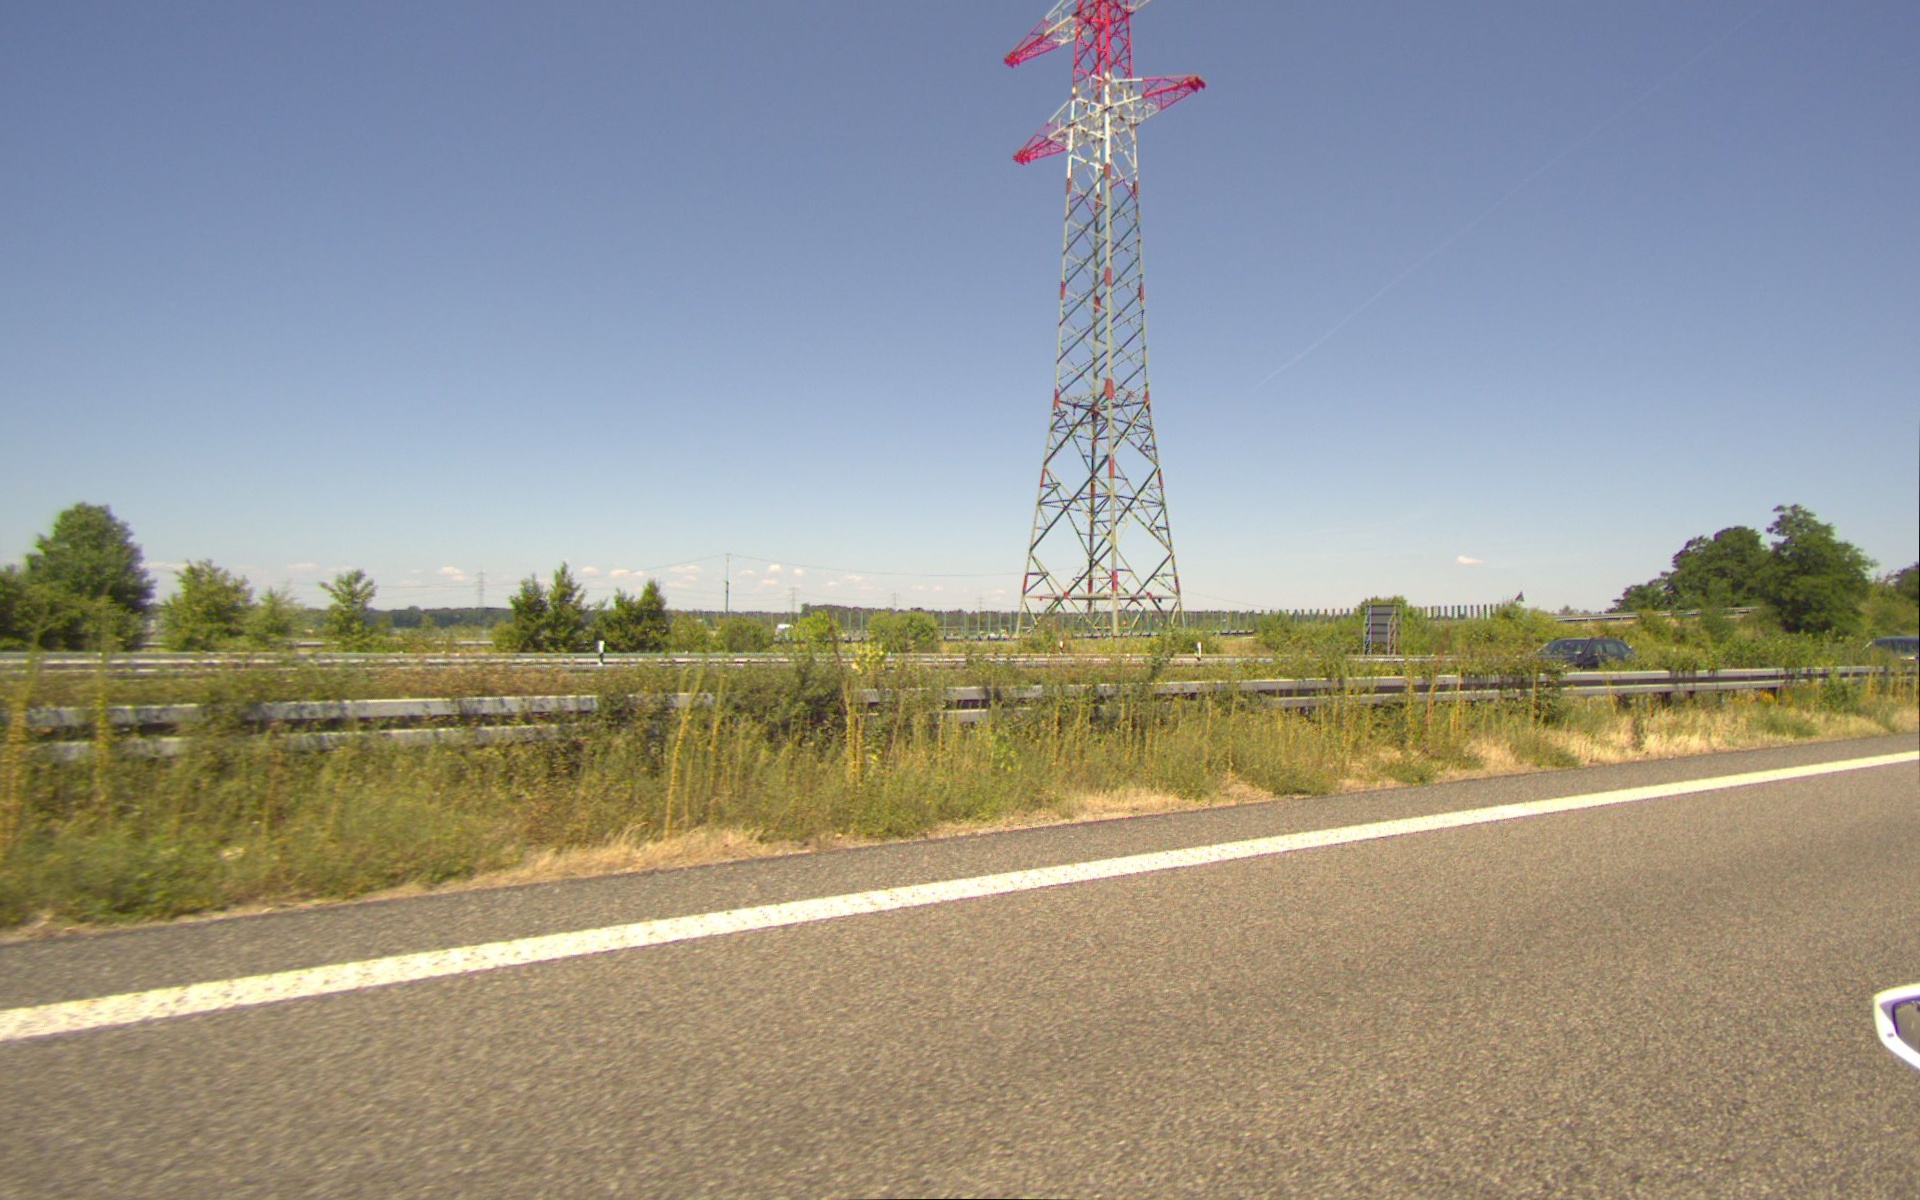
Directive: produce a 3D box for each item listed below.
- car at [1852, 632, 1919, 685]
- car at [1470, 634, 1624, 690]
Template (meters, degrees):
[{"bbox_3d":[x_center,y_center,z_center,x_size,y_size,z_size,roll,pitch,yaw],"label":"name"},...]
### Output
[{"bbox_3d":[29.584,1.792,31.311,3.810,1.578,1.592,2,-2,-31],"label":"car"},{"bbox_3d":[16.309,1.679,27.872,4.311,1.406,1.879,2,-2,-31],"label":"car"}]
